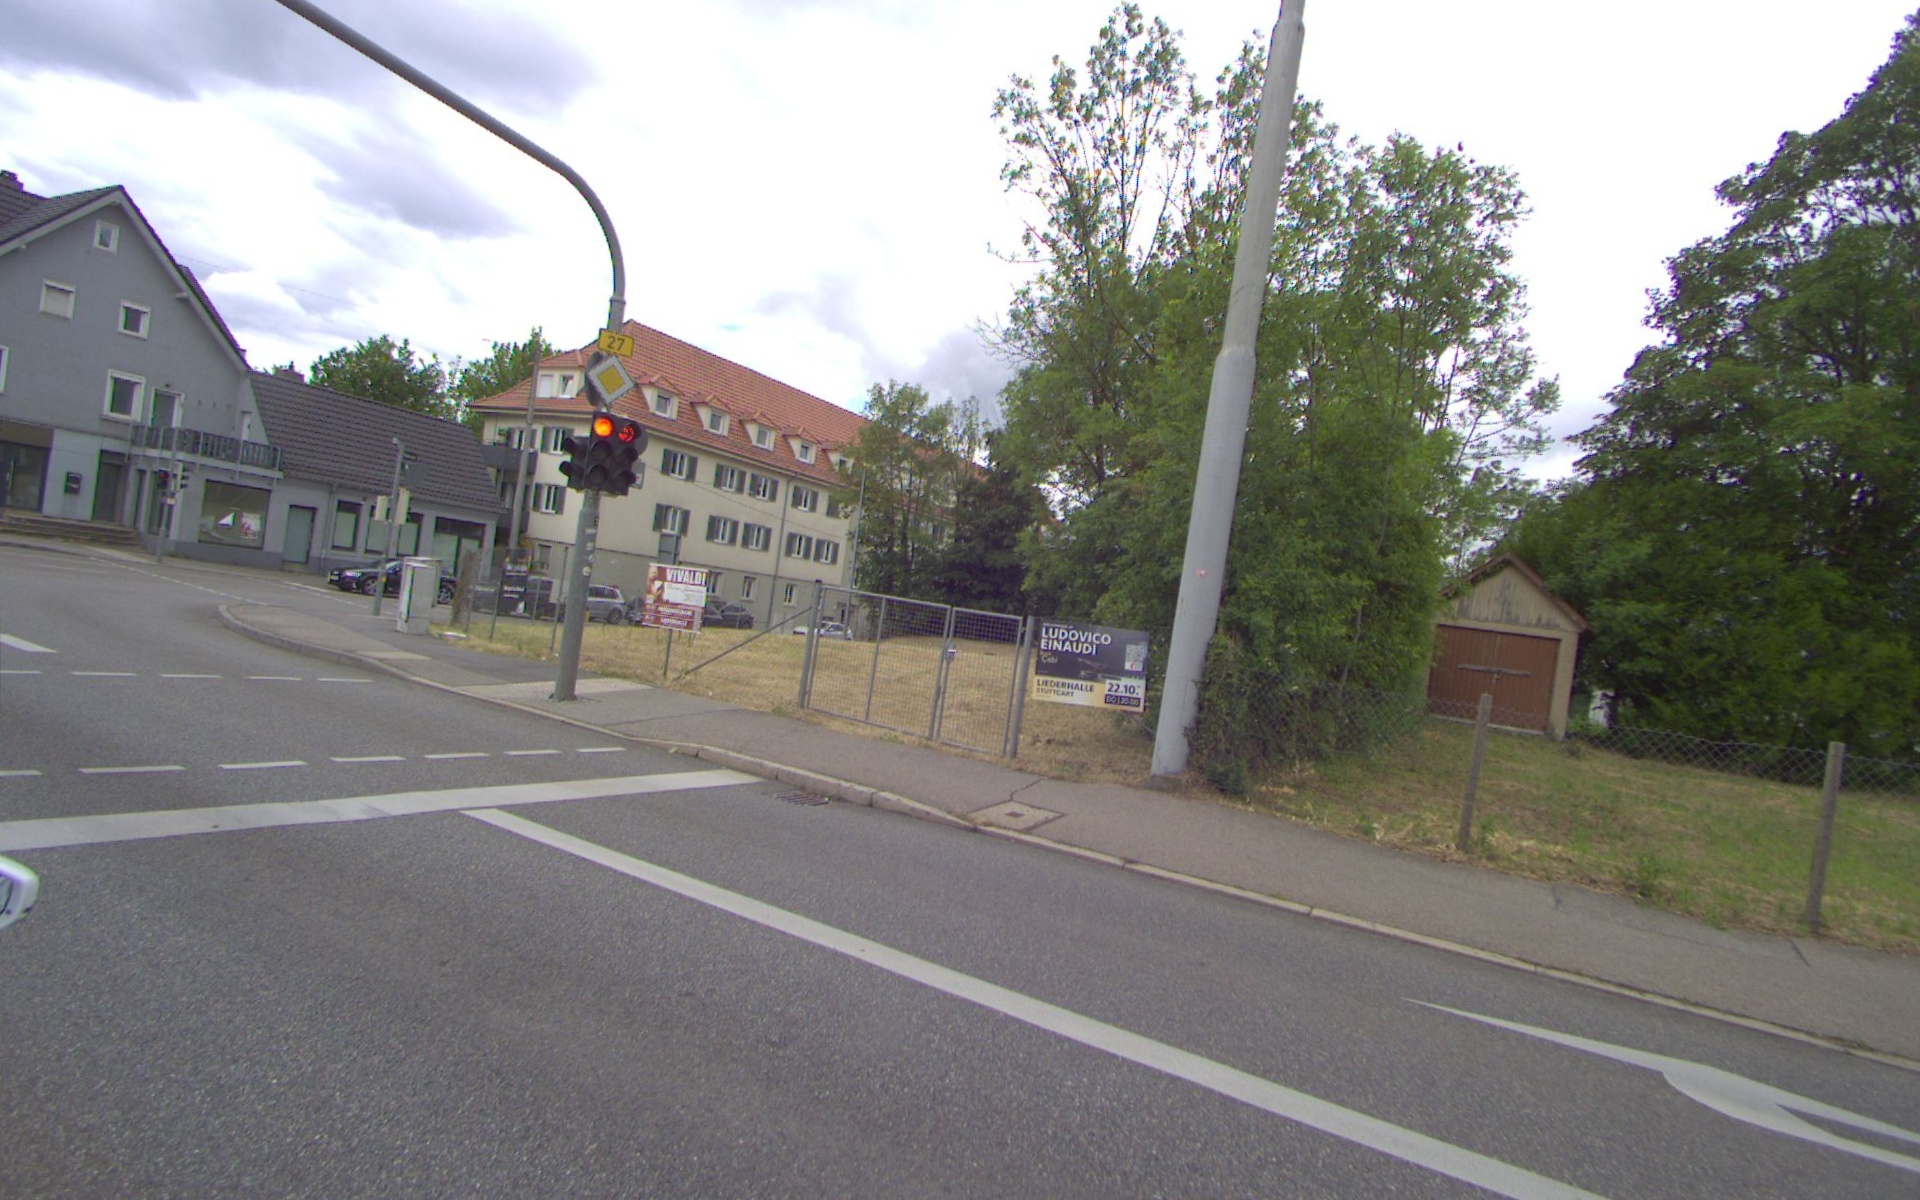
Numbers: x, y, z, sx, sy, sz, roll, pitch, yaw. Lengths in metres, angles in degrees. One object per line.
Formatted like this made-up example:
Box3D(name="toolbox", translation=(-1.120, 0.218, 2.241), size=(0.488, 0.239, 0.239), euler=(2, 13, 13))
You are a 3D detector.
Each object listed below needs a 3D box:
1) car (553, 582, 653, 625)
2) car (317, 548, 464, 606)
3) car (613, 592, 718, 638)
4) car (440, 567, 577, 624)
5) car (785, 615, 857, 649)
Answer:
Box3D(name="car", translation=(-16.599, 0.170, 46.947), size=(1.769, 1.386, 4.100), euler=(7, -3, 30))
Box3D(name="car", translation=(-20.166, -0.781, 35.797), size=(1.769, 1.386, 4.100), euler=(7, -3, 30))
Box3D(name="car", translation=(-12.566, 0.659, 43.193), size=(1.769, 1.386, 4.100), euler=(7, -3, 30))
Box3D(name="car", translation=(-16.157, -0.124, 36.193), size=(1.769, 1.386, 4.100), euler=(7, -3, 30))
Box3D(name="car", translation=(-7.848, 1.860, 57.080), size=(1.769, 1.386, 4.100), euler=(7, -3, 30))
